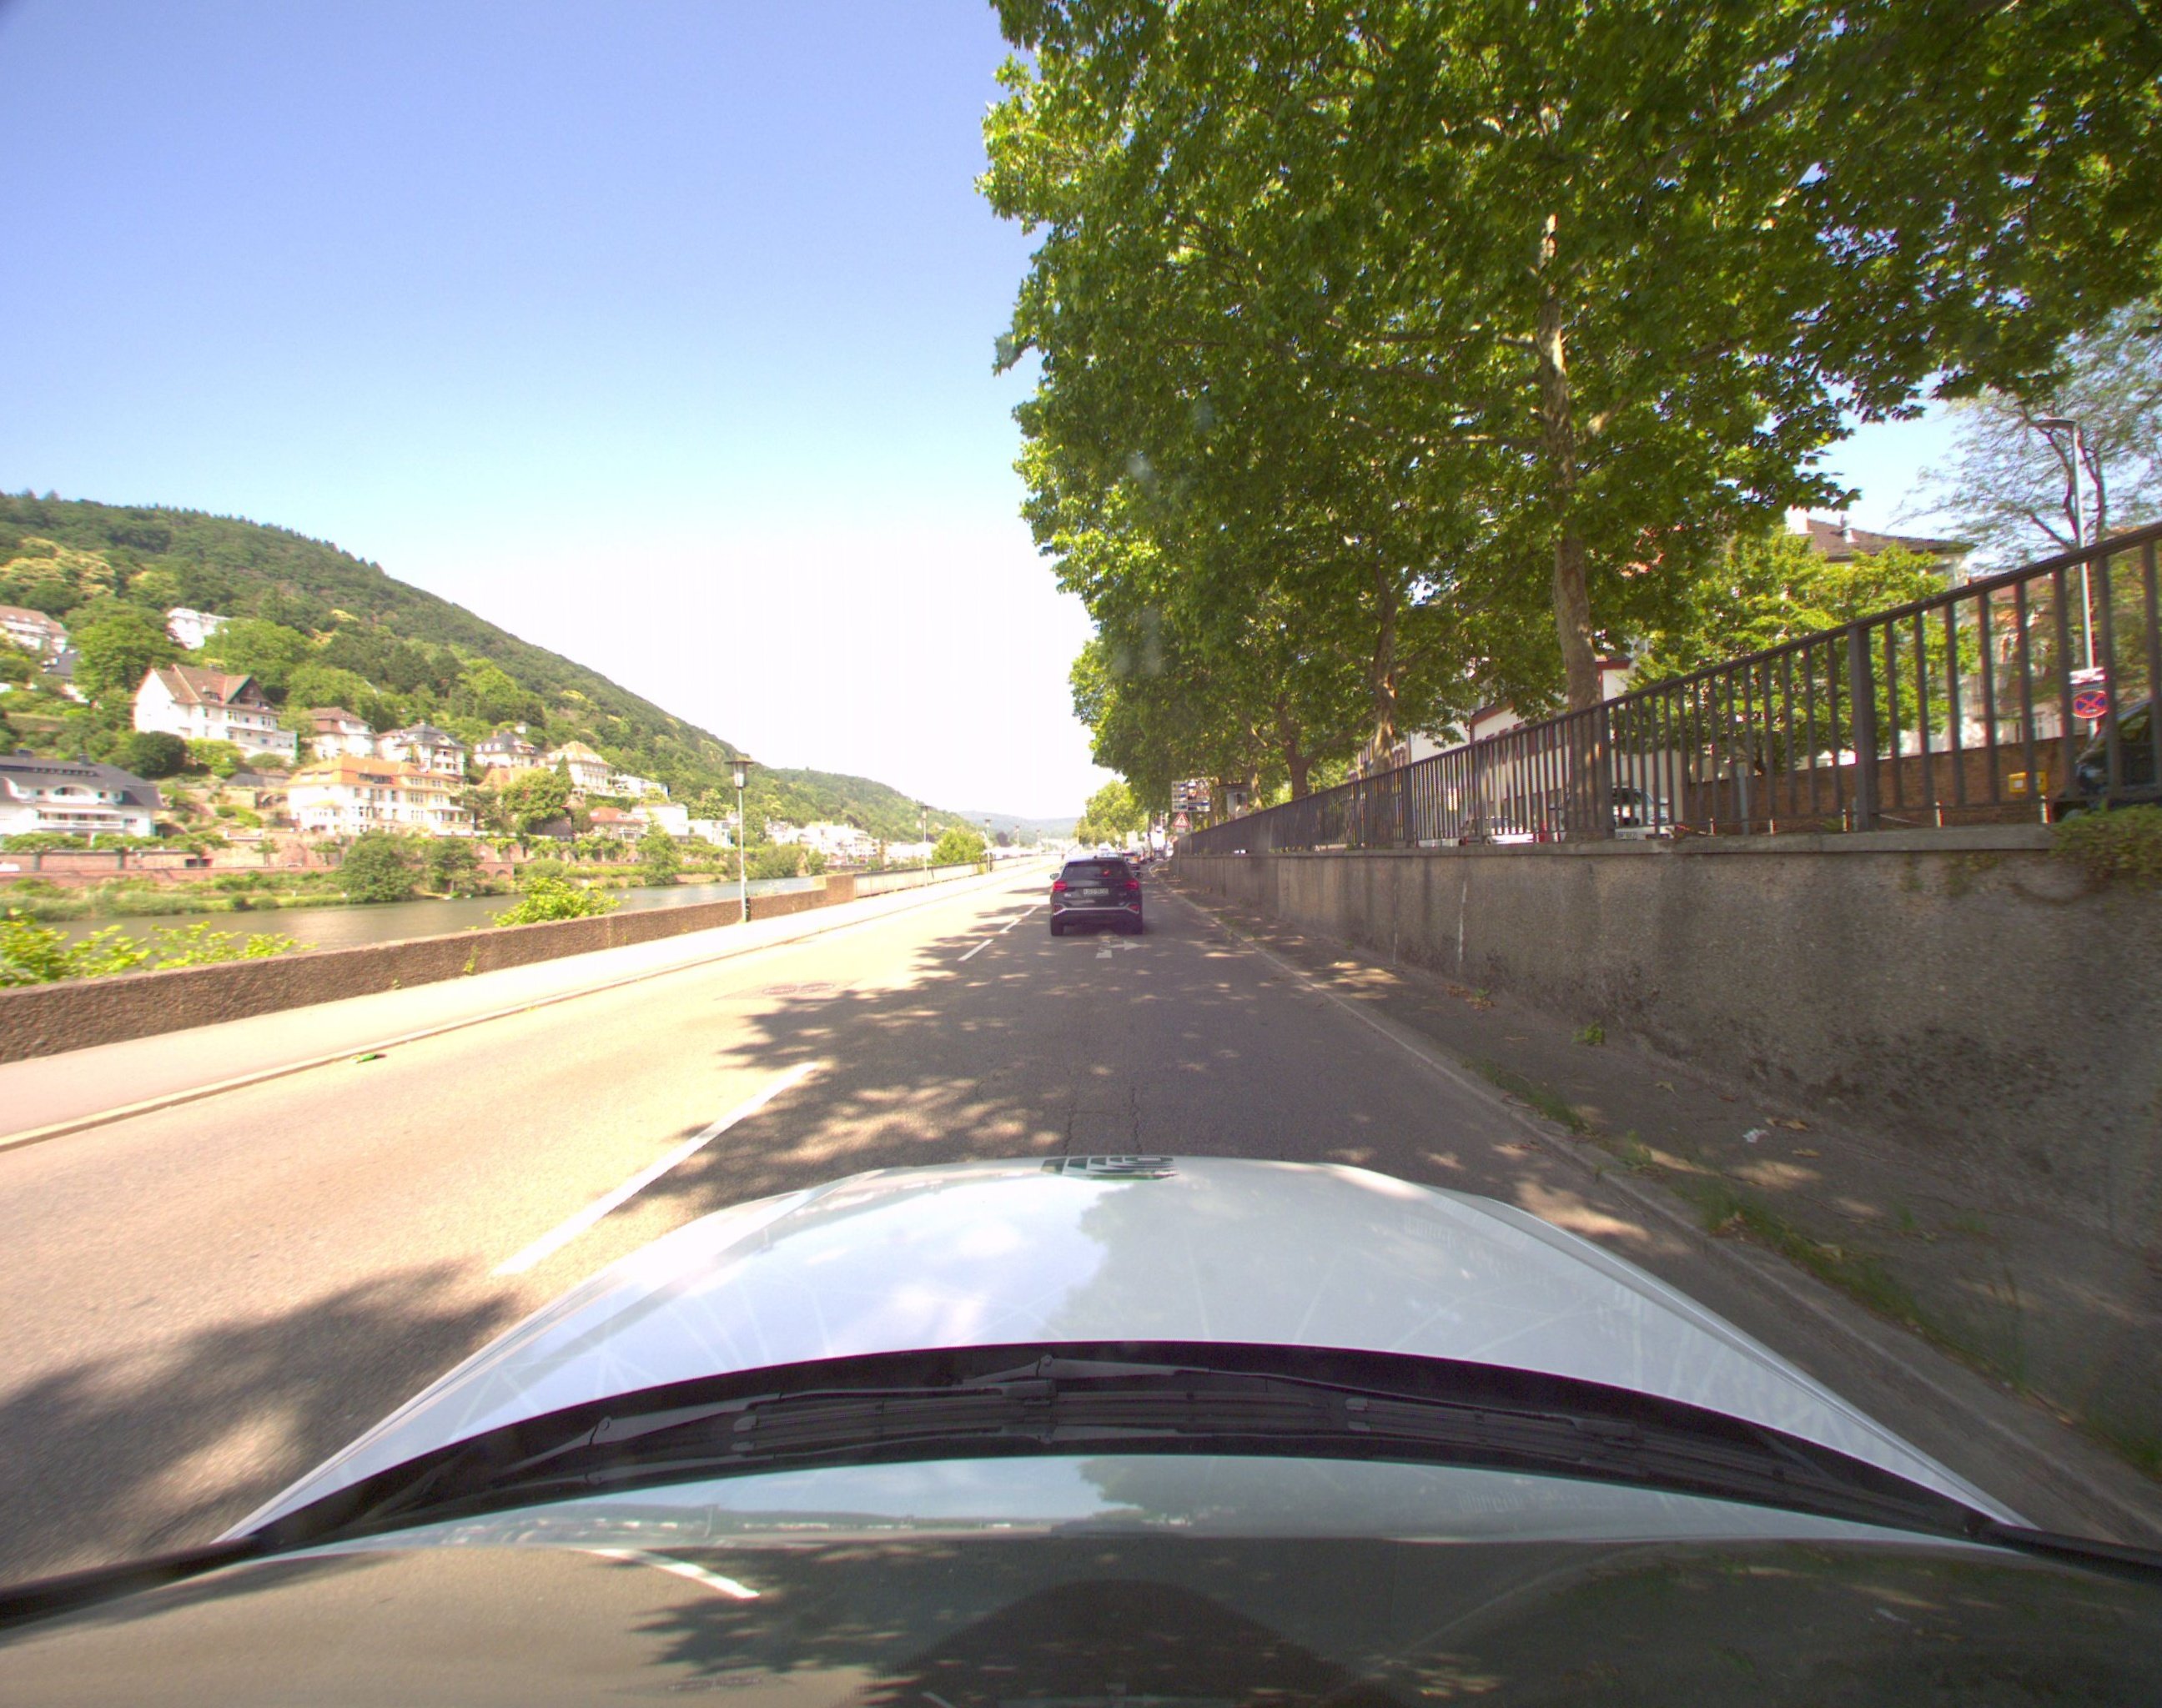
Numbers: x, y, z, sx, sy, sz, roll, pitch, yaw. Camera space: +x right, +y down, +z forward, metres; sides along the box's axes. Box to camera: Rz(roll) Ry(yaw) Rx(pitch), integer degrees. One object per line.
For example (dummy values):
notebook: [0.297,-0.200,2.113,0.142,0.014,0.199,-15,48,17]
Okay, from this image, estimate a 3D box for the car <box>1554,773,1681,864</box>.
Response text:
car: [10.028,-0.589,15.469,1.757,1.469,4.025,-1,0,30]

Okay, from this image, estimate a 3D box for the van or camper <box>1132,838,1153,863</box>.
van or camper: [7.542,-0.464,99.710,2.300,2.847,4.249,-5,0,3]

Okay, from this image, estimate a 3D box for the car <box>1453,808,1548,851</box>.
car: [16.254,-0.893,31.781,1.866,1.427,3.721,-5,0,3]

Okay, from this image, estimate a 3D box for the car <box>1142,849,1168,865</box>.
car: [10.391,0.407,114.903,3.087,2.013,5.826,-5,0,1]

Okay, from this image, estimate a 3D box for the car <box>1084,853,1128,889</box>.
car: [1.091,0.729,36.122,1.822,1.486,4.001,-1,0,1]

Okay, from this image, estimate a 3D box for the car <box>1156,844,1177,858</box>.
car: [13.379,-0.441,127.318,2.652,2.013,5.826,-5,0,1]

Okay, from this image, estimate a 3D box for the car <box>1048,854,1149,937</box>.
car: [0.371,0.762,16.898,1.822,1.486,4.001,-1,0,1]

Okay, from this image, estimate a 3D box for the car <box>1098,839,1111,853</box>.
car: [3.940,-1.334,136.058,1.986,2.013,4.001,-5,0,1]

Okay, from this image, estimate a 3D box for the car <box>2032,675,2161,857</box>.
car: [9.614,-0.744,6.258,1.633,1.500,3.841,-2,-1,27]

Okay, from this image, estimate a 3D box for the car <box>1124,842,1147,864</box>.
car: [5.786,-0.129,86.218,1.983,2.169,4.009,-5,0,8]

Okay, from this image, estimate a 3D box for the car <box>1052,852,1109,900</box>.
car: [0.036,0.719,28.411,1.822,1.511,4.001,-1,0,1]

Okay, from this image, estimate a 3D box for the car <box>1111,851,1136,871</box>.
car: [3.307,0.523,63.629,1.822,1.444,4.001,-1,0,1]
